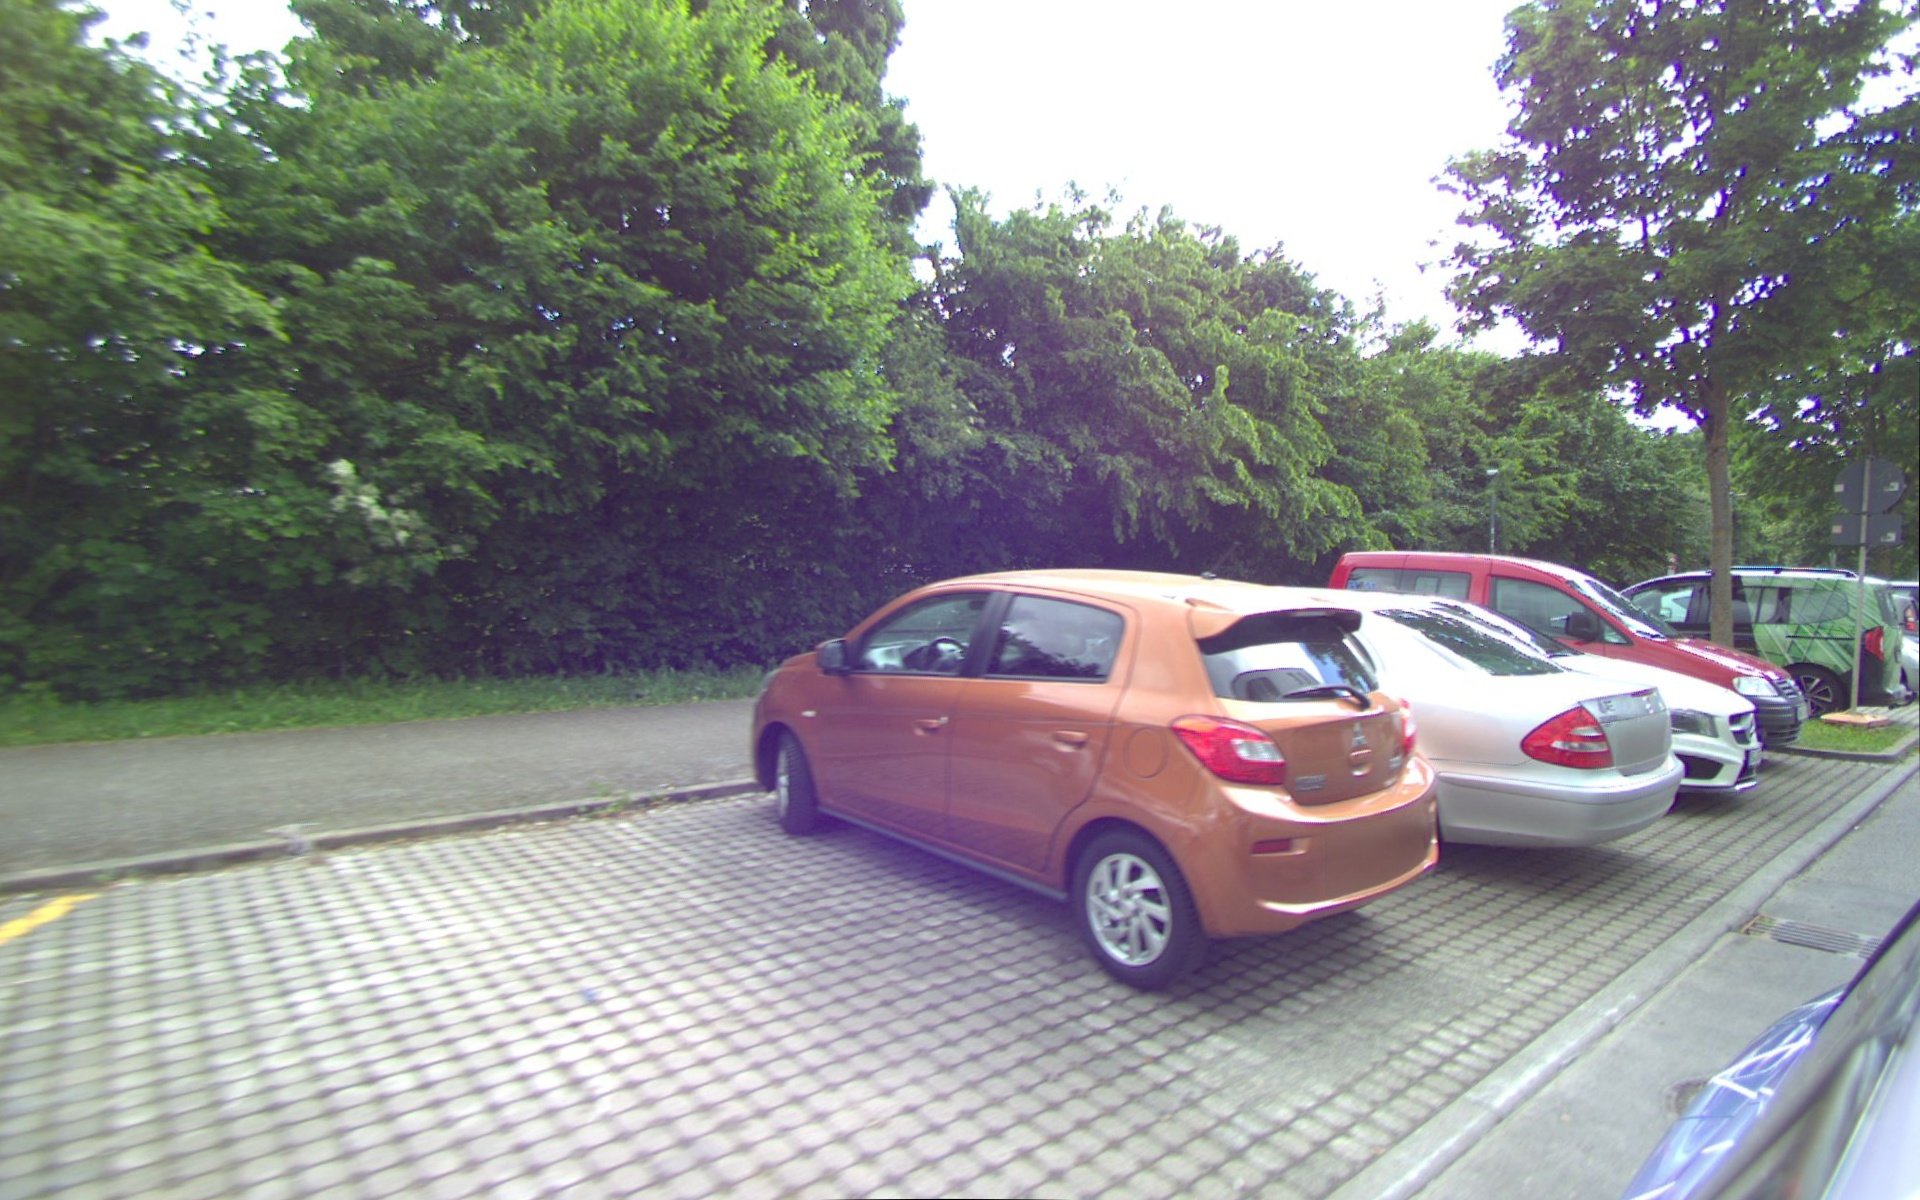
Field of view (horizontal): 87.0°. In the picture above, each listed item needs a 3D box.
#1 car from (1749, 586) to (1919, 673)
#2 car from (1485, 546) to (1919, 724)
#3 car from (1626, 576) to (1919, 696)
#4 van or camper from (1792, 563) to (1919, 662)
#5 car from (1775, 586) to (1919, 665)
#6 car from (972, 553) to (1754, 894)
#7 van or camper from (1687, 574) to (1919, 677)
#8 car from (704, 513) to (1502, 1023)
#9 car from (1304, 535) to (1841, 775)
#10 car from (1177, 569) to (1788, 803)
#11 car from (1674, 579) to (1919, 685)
[{"bbox_3d":[19.542,0.608,21.628,1.852,1.754,3.973,0,-1,-42],"label":"car"},{"bbox_3d":[9.928,0.309,13.749,1.852,1.922,4.558,0,3,-42],"label":"car"},{"bbox_3d":[13.584,0.548,16.733,1.852,1.754,3.973,0,-1,-42],"label":"car"},{"bbox_3d":[23.117,0.299,24.803,1.852,2.349,3.973,0,-1,-42],"label":"van or camper"},{"bbox_3d":[21.453,0.550,23.261,2.071,1.622,3.974,-3,3,-42],"label":"car"},{"bbox_3d":[2.253,0.459,6.682,1.910,1.453,4.405,0,2,-41],"label":"car"},{"bbox_3d":[17.256,0.484,20.370,1.699,1.897,3.973,0,-1,-42],"label":"van or camper"},{"bbox_3d":[0.309,0.450,5.337,1.646,1.611,4.159,0,2,-38],"label":"car"},{"bbox_3d":[5.943,0.352,10.247,1.806,1.916,4.287,0,2,-42],"label":"car"},{"bbox_3d":[4.187,0.502,8.681,1.806,1.426,4.287,0,2,-42],"label":"car"},{"bbox_3d":[15.616,0.543,18.424,1.852,1.754,3.973,0,-1,-42],"label":"car"}]
